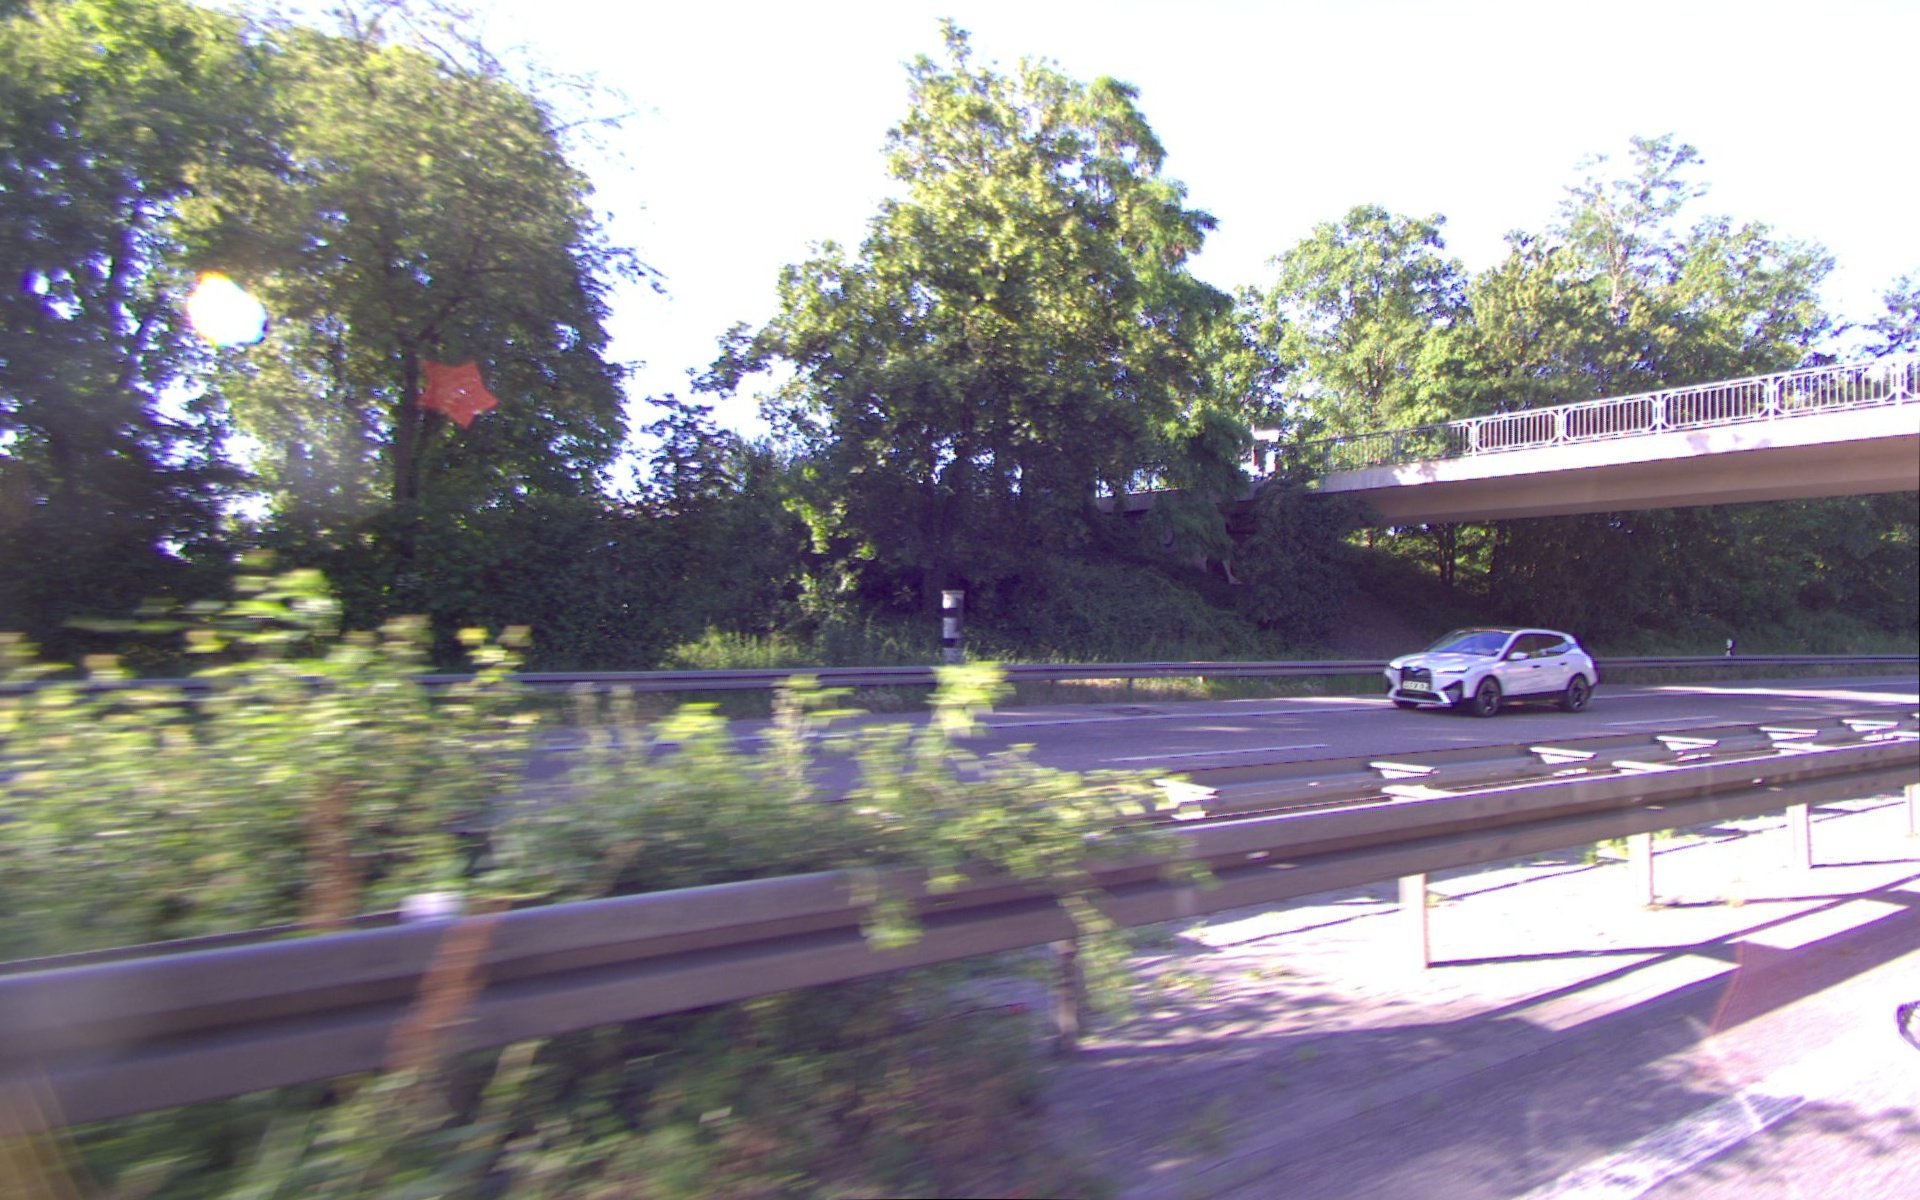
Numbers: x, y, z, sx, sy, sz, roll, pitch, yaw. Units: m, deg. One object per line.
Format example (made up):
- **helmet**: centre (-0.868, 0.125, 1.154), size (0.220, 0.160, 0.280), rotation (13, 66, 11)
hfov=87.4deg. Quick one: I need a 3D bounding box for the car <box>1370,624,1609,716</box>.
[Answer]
- **car**: centre (10.855, 1.356, 20.501), size (4.979, 1.681, 1.952), rotation (1, -2, -29)
